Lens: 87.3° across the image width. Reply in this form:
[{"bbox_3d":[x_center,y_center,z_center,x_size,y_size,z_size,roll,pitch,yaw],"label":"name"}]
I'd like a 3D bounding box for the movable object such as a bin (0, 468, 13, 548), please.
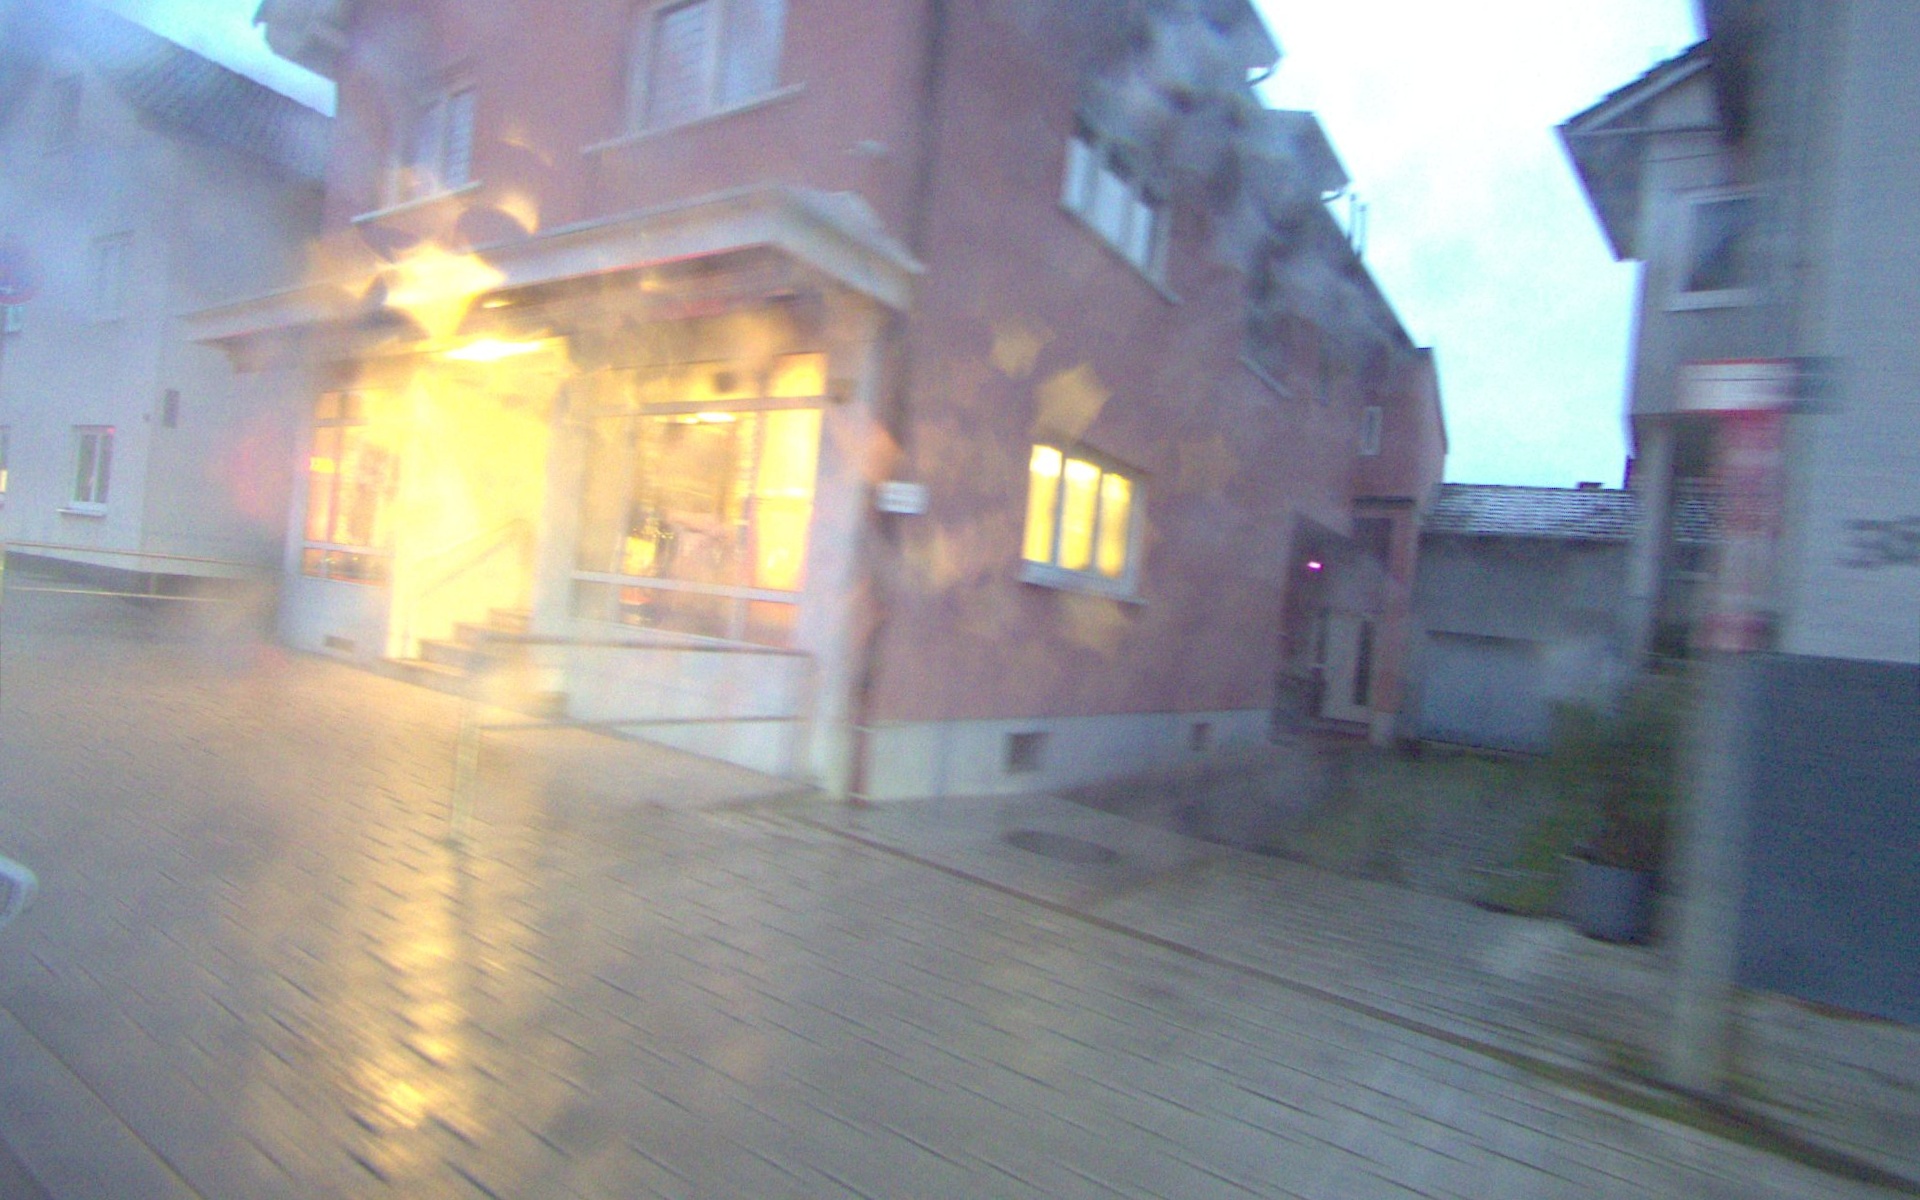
[{"bbox_3d":[-20.965,-2.024,21.098,1.165,1.666,1.285,7,3,31],"label":"movable object such as a bin"}]

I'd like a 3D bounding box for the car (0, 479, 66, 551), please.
[{"bbox_3d":[-22.980,-2.116,22.581,1.884,1.504,3.986,6,-1,37],"label":"car"}]
